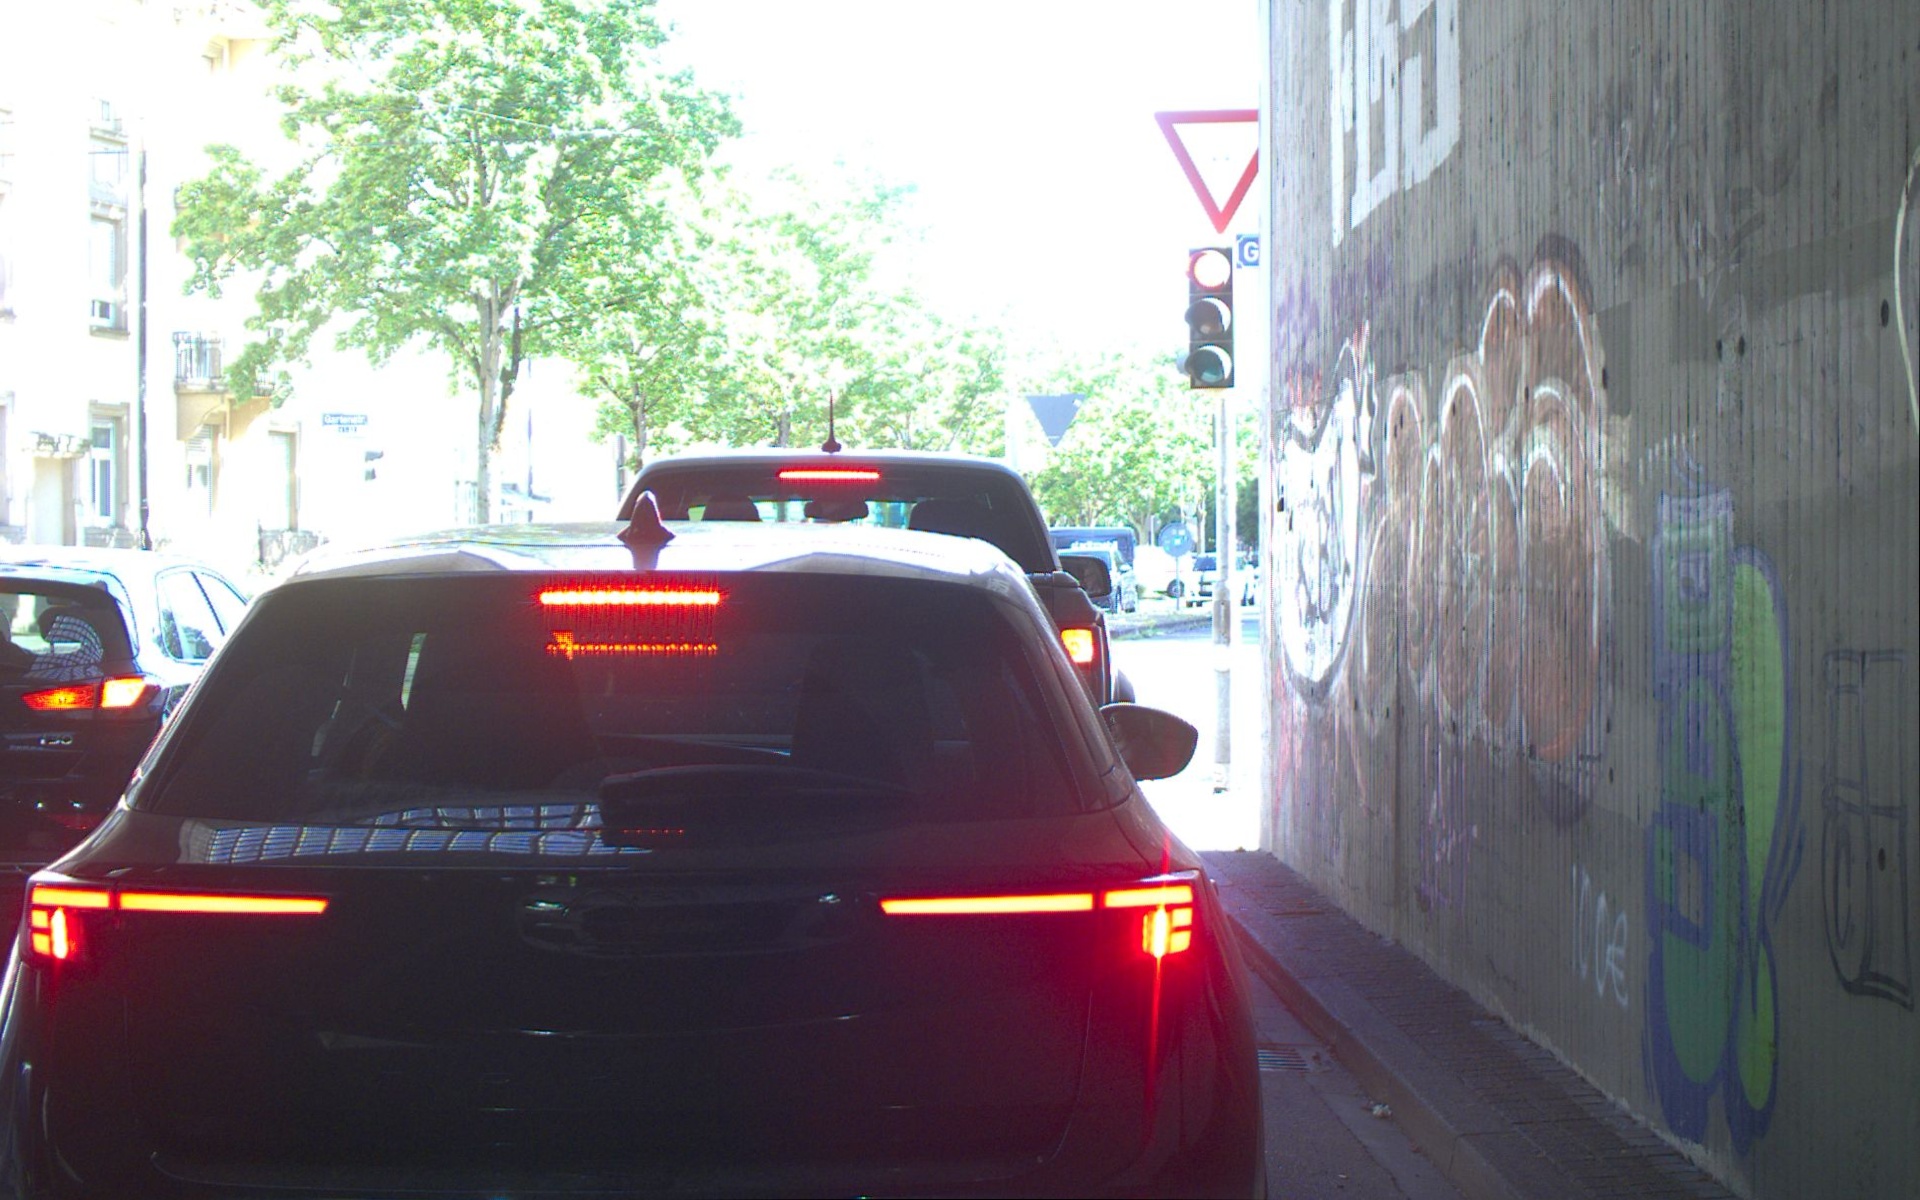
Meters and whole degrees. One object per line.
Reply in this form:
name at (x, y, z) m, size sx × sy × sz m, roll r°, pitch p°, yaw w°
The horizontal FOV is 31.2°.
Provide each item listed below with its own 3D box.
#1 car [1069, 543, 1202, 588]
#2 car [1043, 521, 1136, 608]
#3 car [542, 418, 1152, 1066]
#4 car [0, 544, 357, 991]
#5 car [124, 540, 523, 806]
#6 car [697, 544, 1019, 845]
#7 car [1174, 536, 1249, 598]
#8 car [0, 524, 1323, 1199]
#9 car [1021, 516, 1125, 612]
car at (6.830, -1.344, 133.766) m, size 4.798 × 1.661 × 1.824 m, roll 1°, pitch 1°, yaw -21°
car at (2.599, -0.702, 68.306) m, size 1.754 × 1.661 × 3.944 m, roll 1°, pitch 1°, yaw 3°
car at (-0.350, 0.379, 12.032) m, size 1.762 × 1.876 × 4.146 m, roll 0°, pitch 1°, yaw -1°
car at (-3.527, 0.522, 13.279) m, size 1.762 × 1.475 × 3.844 m, roll 0°, pitch 1°, yaw -1°
car at (-3.777, 0.375, 21.003) m, size 1.762 × 1.475 × 3.844 m, roll 0°, pitch 1°, yaw -1°
car at (-0.535, 0.441, 19.251) m, size 1.609 × 1.508 × 4.054 m, roll 0°, pitch 1°, yaw -1°
car at (7.028, -0.913, 95.662) m, size 1.754 × 1.661 × 3.943 m, roll 1°, pitch 1°, yaw 9°
car at (-0.479, 0.641, 6.091) m, size 1.762 × 1.526 × 4.089 m, roll 0°, pitch 1°, yaw -1°
car at (2.079, -0.648, 62.187) m, size 1.754 × 1.661 × 3.944 m, roll 1°, pitch 1°, yaw 3°
